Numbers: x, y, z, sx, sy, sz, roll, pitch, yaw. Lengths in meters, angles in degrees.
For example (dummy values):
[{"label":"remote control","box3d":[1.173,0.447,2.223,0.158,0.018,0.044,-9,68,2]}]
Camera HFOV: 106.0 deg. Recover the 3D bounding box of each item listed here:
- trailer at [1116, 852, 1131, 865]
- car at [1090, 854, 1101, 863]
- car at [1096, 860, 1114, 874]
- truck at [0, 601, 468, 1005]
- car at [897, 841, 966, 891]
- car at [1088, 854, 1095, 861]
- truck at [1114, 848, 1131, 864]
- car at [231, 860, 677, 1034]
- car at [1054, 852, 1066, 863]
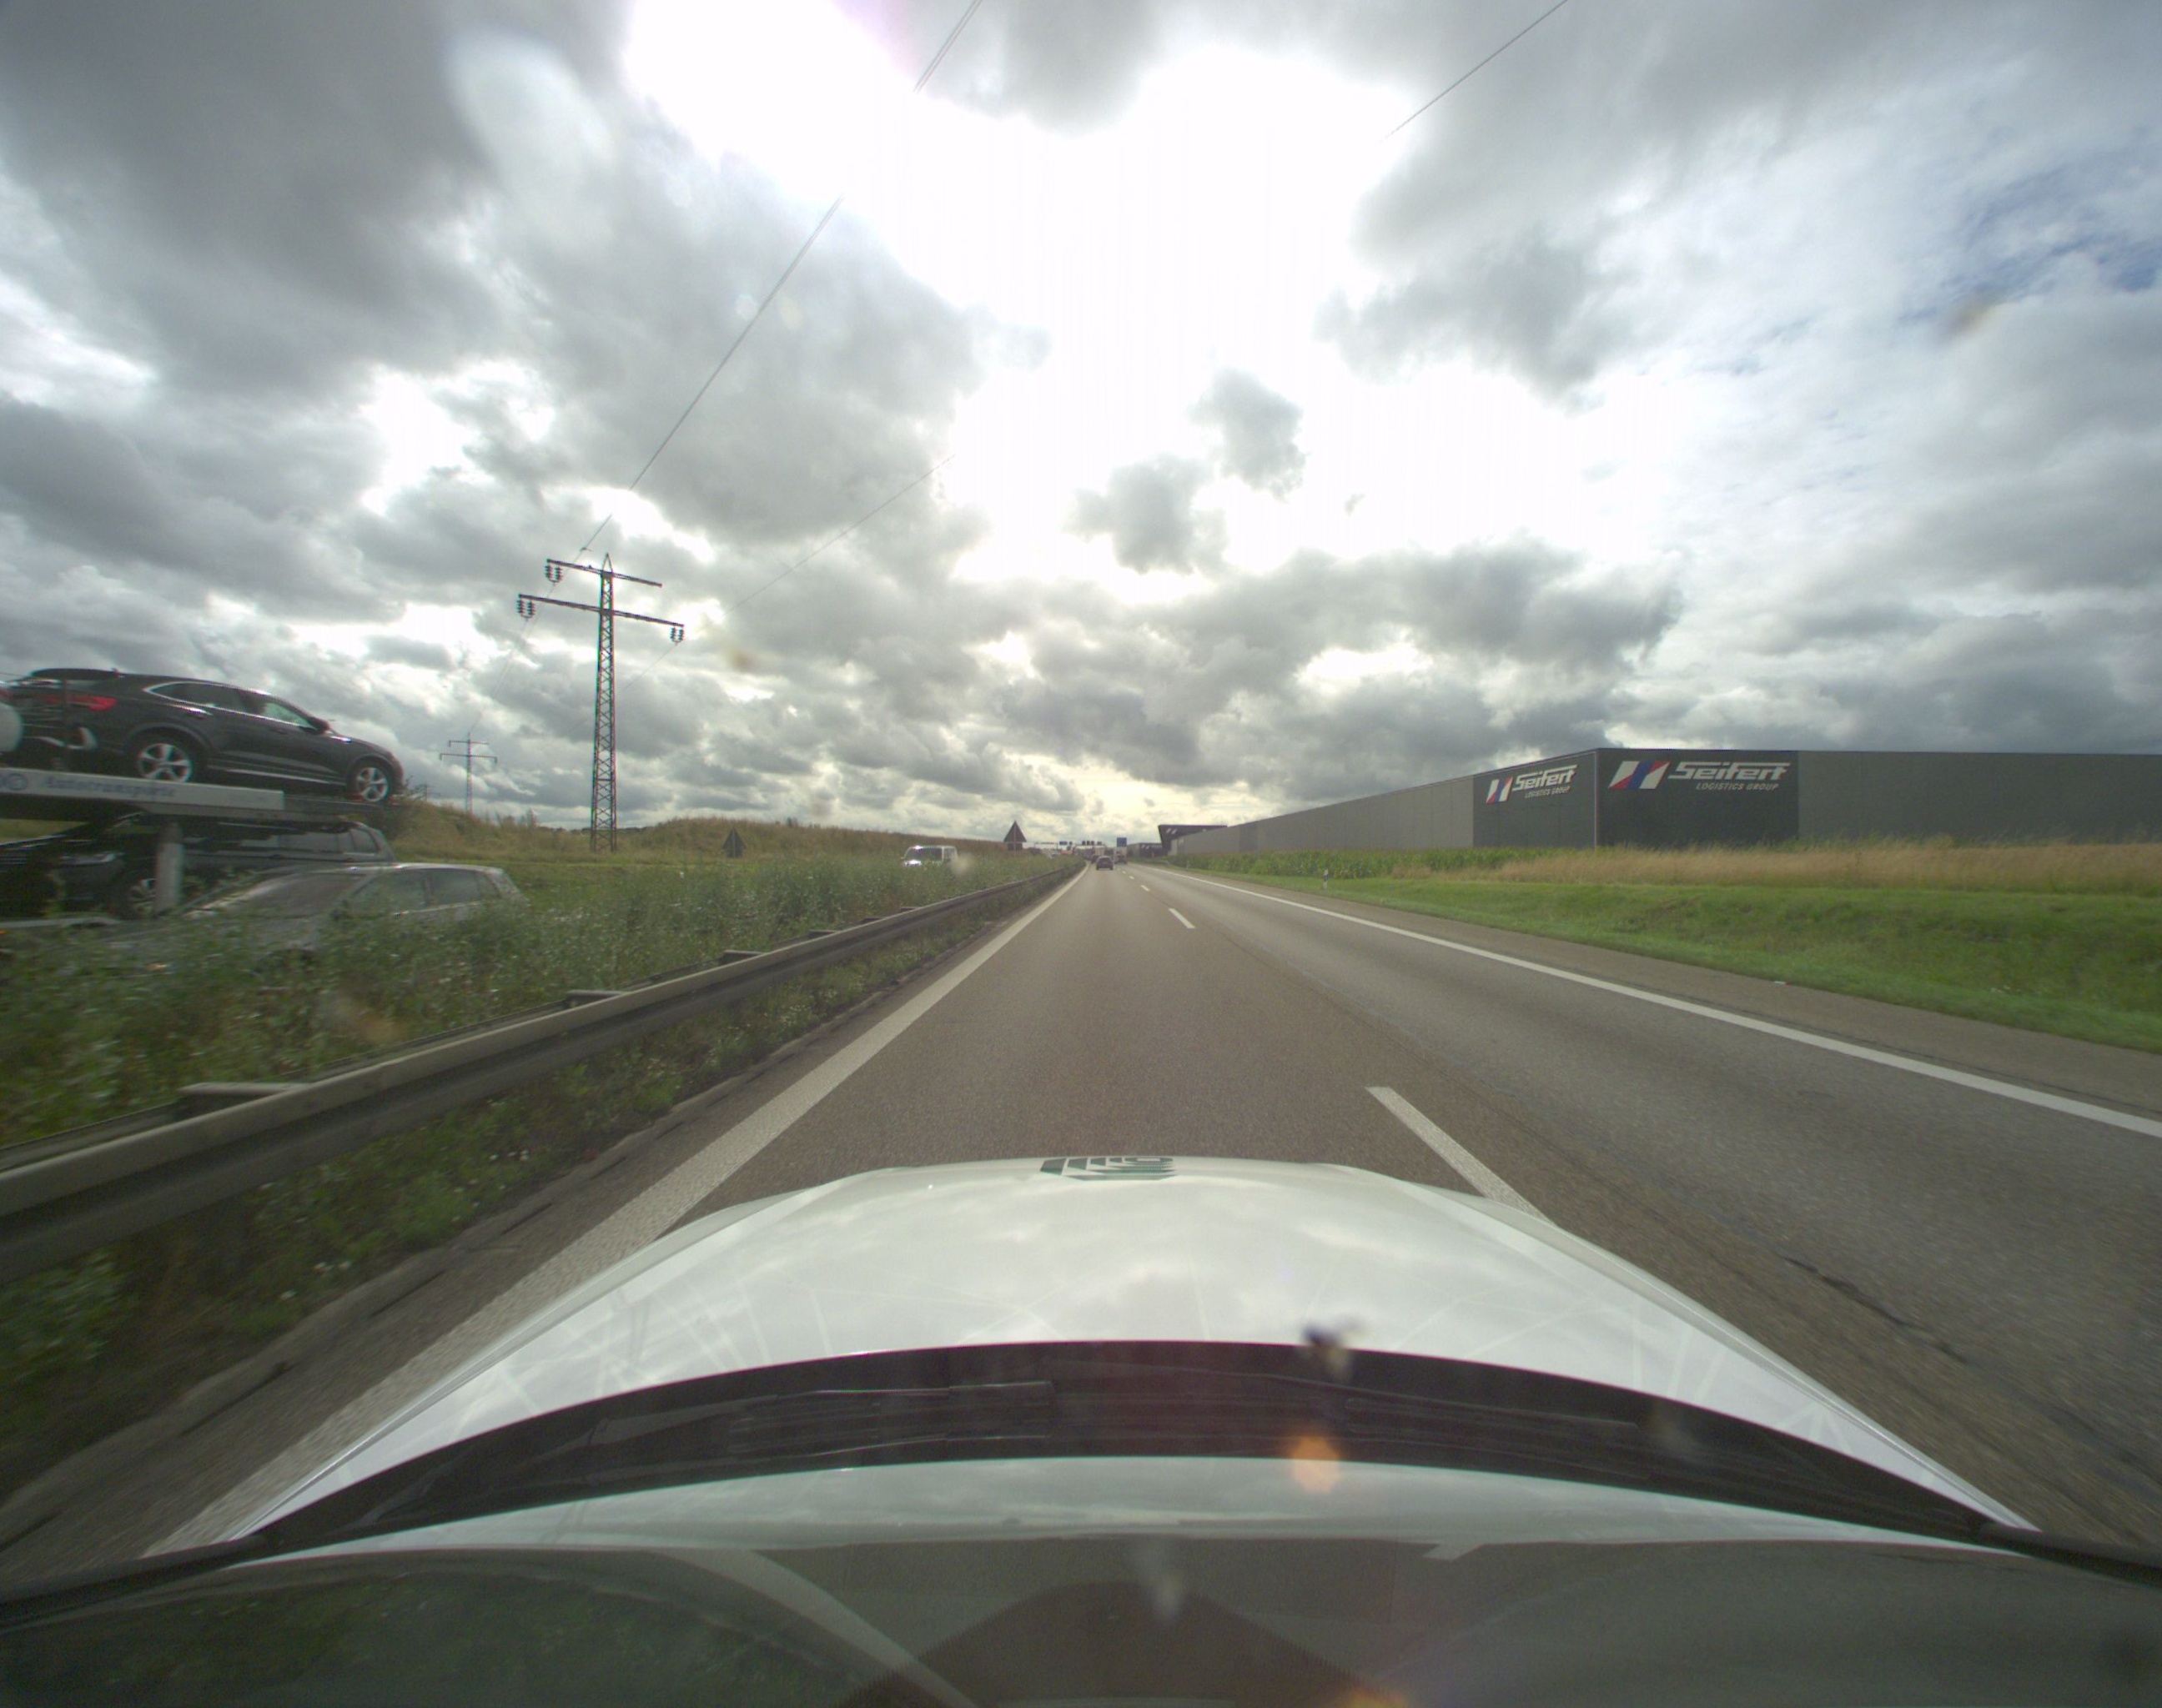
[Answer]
[{"label":"trailer","box3d":[7.185,0.760,138.503,2.331,2.136,4.000,0,-1,0]},{"label":"car","box3d":[2.719,0.874,152.118,1.939,1.685,4.000,0,0,0]},{"label":"car","box3d":[2.554,1.331,87.353,1.740,1.453,4.000,0,0,0]},{"label":"truck","box3d":[-11.987,-0.476,4.974,2.712,3.936,17.410,-1,0,2]},{"label":"car","box3d":[-6.468,0.505,35.816,1.986,2.014,5.034,0,0,1]},{"label":"car","box3d":[3.149,1.028,238.965,1.936,1.775,3.697,0,0,2]},{"label":"truck","box3d":[7.400,0.362,145.695,2.475,2.950,5.810,0,-1,-2]},{"label":"car","box3d":[-7.112,0.915,9.993,1.985,1.662,4.305,0,0,3]},{"label":"car","box3d":[-3.796,0.602,150.000,1.986,2.014,5.533,0,0,1]}]
